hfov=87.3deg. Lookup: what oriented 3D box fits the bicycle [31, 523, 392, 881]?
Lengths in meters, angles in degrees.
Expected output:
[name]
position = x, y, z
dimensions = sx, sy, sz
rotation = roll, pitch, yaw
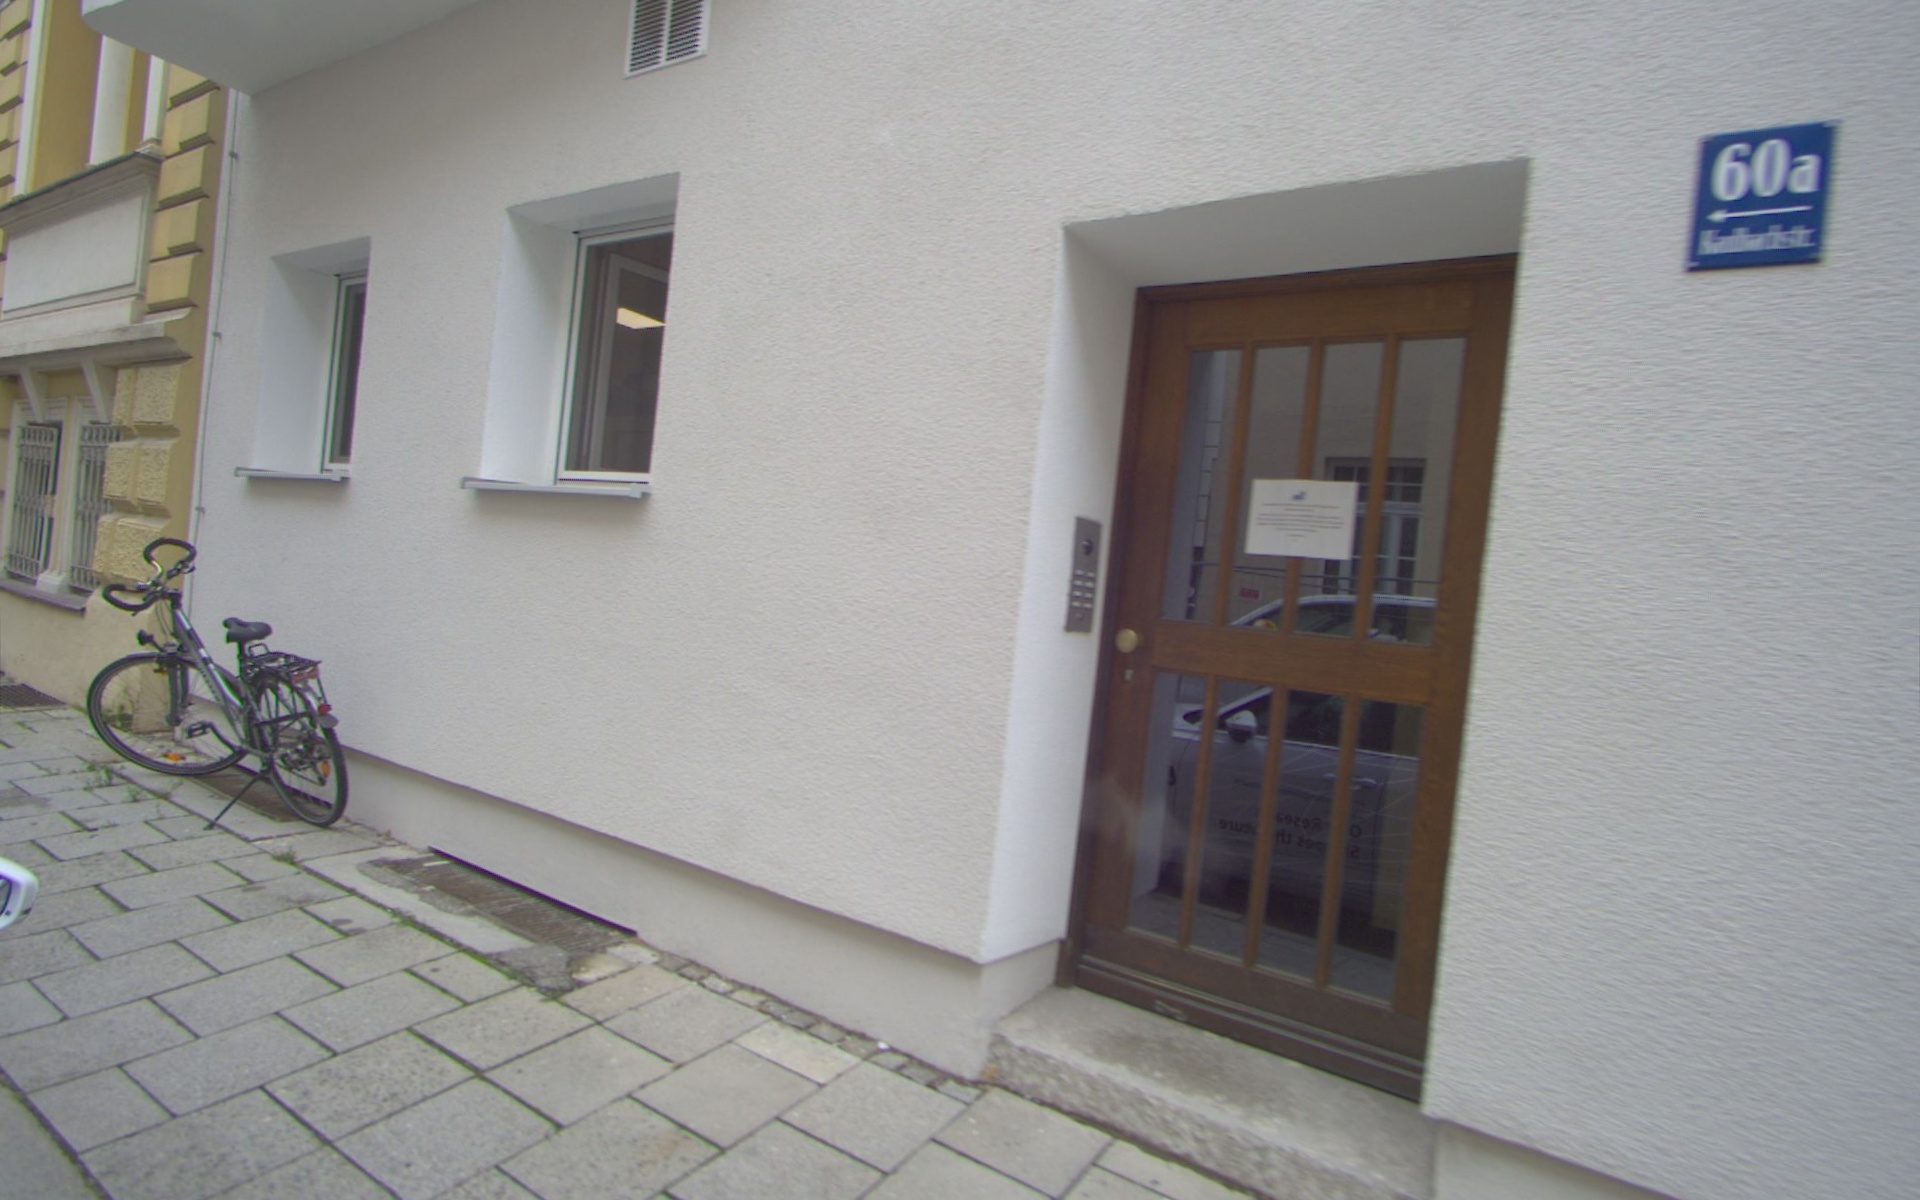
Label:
[bicycle]
position = -3.297, 0.334, 4.358
dimensions = 1.884, 1.169, 0.637
rotation = 7, 4, 34
